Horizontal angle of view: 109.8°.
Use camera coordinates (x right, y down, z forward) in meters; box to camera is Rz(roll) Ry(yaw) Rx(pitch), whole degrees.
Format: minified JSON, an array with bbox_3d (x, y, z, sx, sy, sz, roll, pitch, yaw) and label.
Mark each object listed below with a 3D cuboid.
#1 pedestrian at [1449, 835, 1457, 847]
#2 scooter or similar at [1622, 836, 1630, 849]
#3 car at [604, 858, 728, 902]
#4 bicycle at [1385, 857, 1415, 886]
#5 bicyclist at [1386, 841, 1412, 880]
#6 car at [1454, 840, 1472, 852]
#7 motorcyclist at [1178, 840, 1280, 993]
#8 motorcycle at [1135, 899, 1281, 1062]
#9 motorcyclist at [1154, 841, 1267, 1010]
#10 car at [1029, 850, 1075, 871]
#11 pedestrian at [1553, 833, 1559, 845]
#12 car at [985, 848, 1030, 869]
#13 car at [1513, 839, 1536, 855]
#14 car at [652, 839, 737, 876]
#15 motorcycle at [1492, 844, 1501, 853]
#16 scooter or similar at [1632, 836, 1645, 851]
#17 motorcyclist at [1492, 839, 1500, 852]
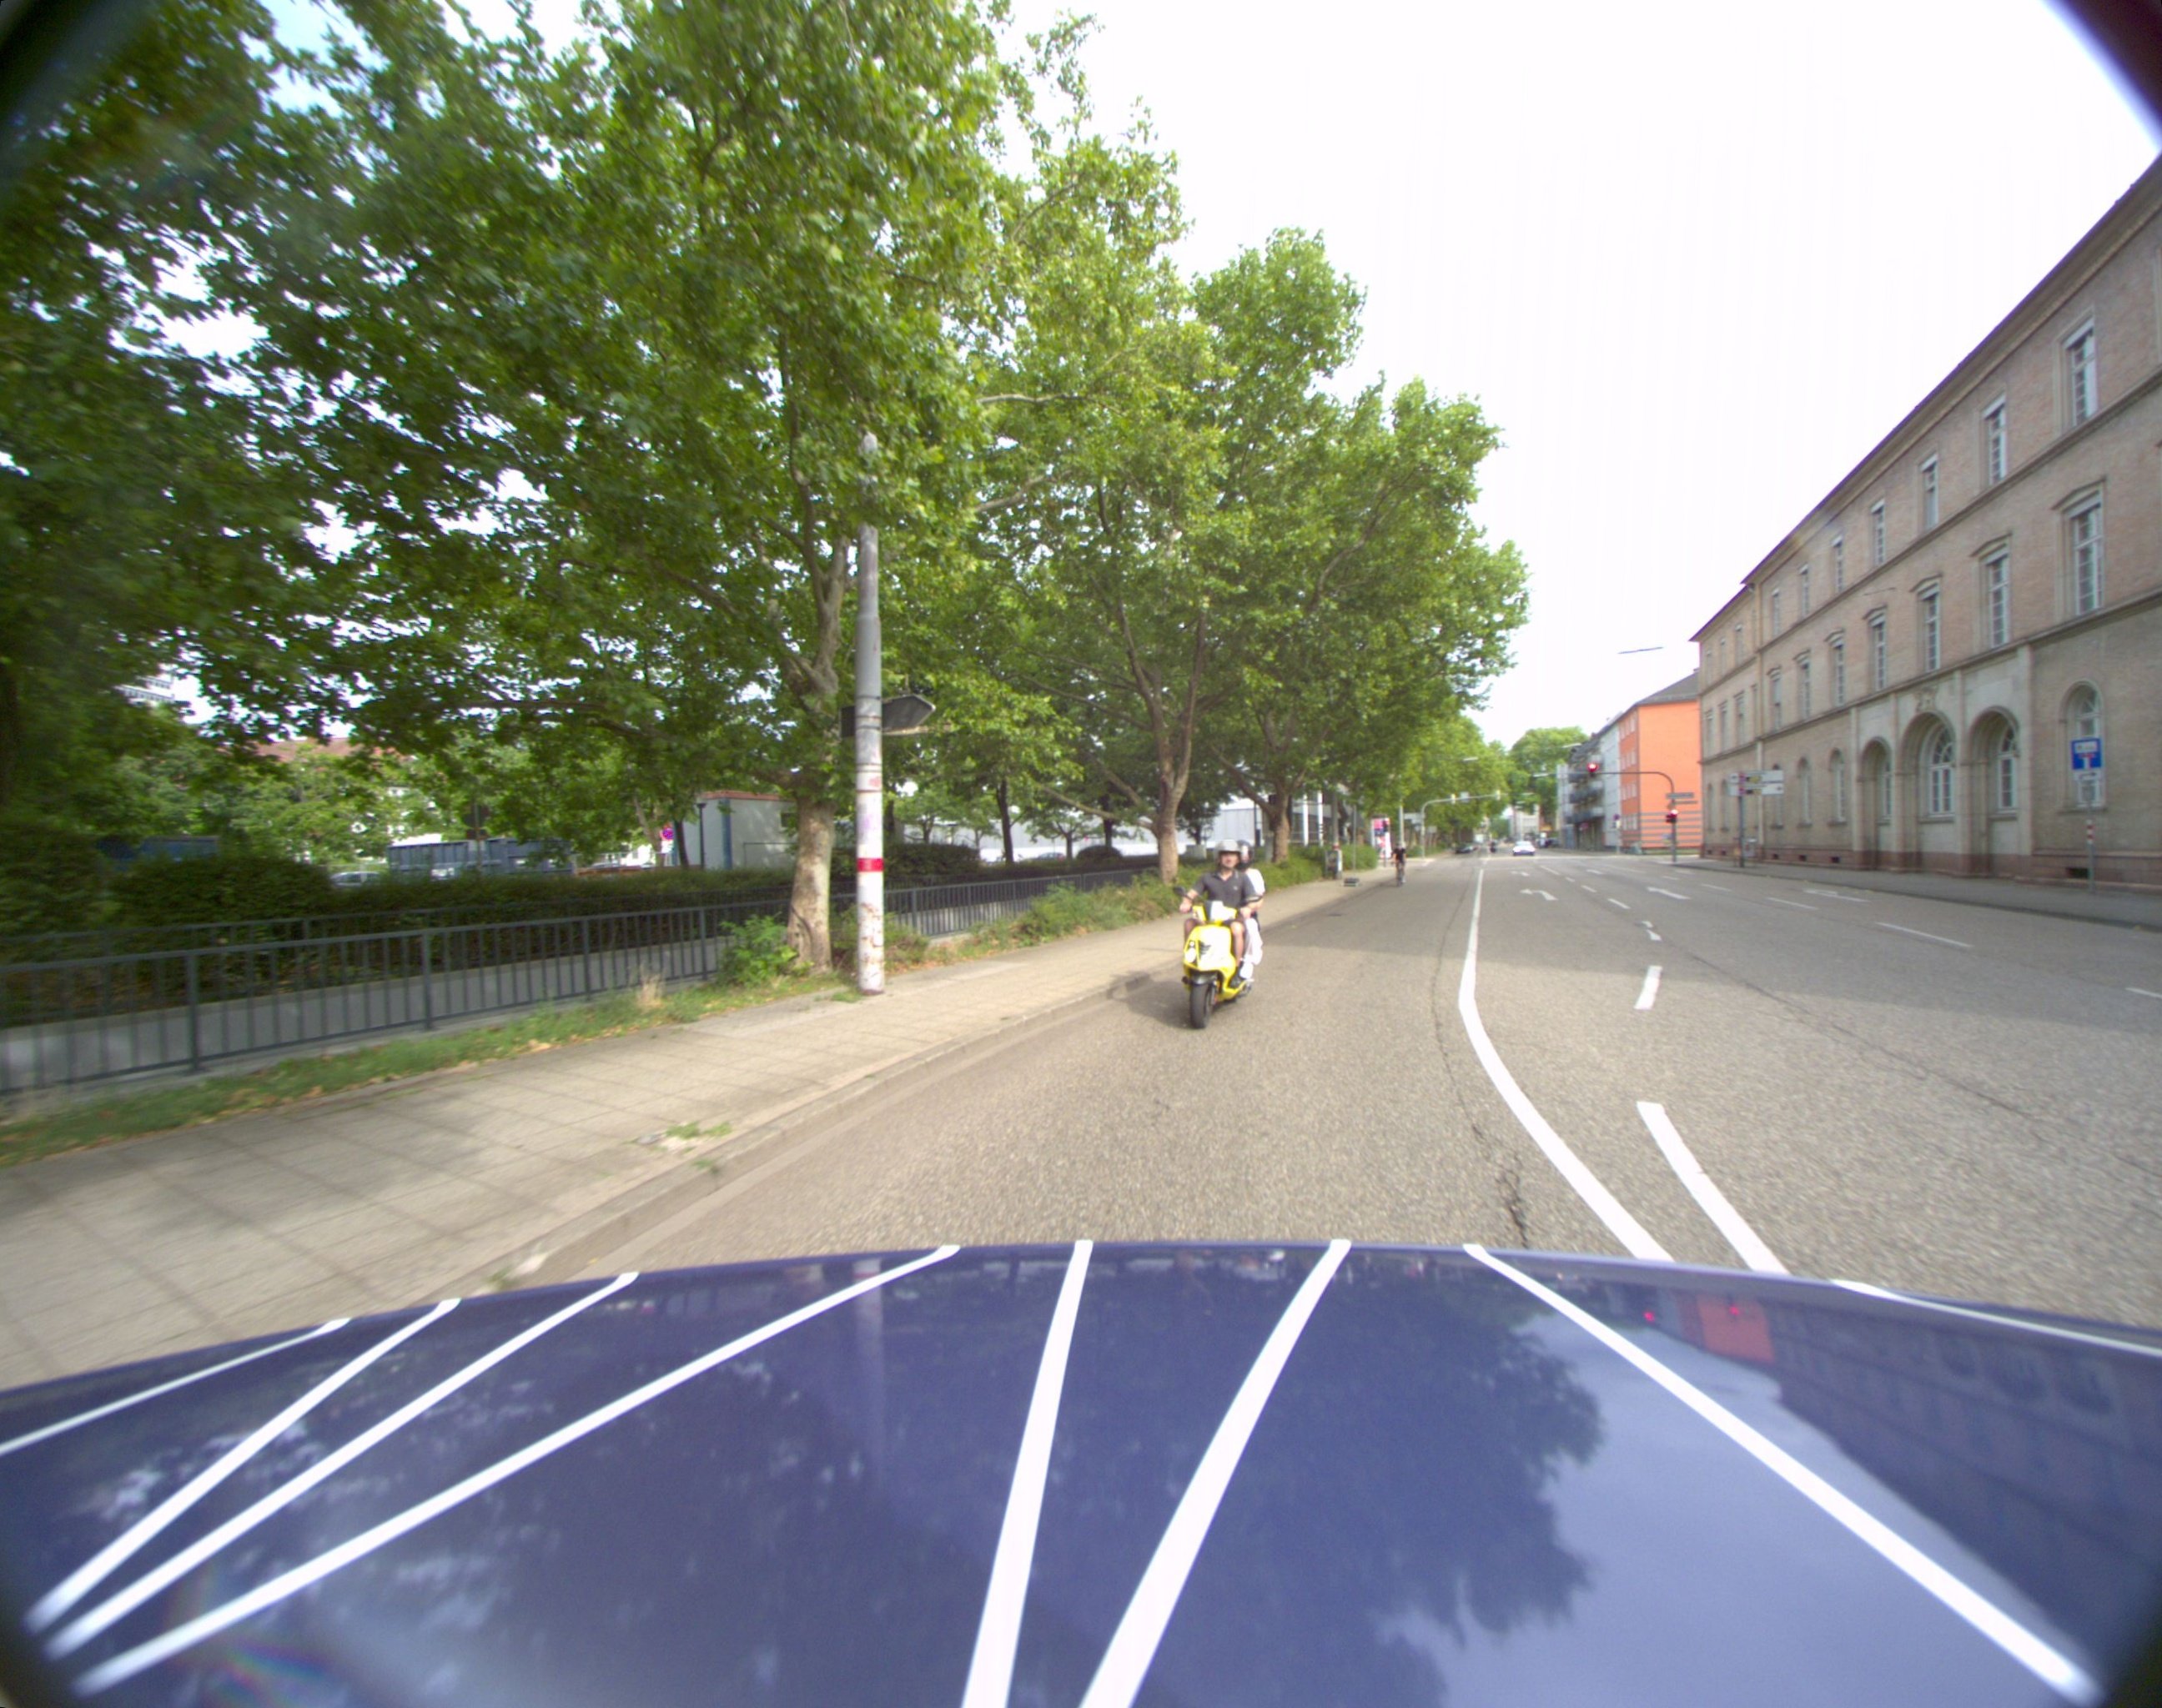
[{"bbox_3d":[62.632,-2.188,127.954,1.002,2.002,0.999,-3,0,30],"label":"pedestrian"},{"bbox_3d":[47.965,-0.991,66.833,0.369,1.117,1.356,-3,0,29],"label":"scooter or similar"},{"bbox_3d":[-19.407,1.179,35.772,1.995,1.783,4.781,-3,-1,25],"label":"car"},{"bbox_3d":[12.301,0.647,29.273,0.769,1.009,2.412,-3,-1,28],"label":"bicycle"},{"bbox_3d":[12.273,0.244,29.308,0.783,1.438,0.915,-3,0,29],"label":"bicyclist"},{"bbox_3d":[55.733,-1.147,110.763,1.995,1.532,4.279,-3,-1,30],"label":"car"},{"bbox_3d":[1.472,0.598,7.504,0.780,1.419,0.690,-3,-1,25],"label":"motorcyclist"},{"bbox_3d":[1.248,1.058,7.019,0.780,1.171,1.996,-3,-1,25],"label":"motorcycle"},{"bbox_3d":[1.184,0.617,6.872,0.780,1.419,0.765,-3,-1,25],"label":"motorcyclist"},{"bbox_3d":[-2.888,0.624,75.791,3.992,1.849,2.003,-3,0,19],"label":"car"},{"bbox_3d":[81.251,-2.512,129.991,0.841,2.002,0.876,-3,0,32],"label":"pedestrian"},{"bbox_3d":[-7.553,0.463,78.022,3.992,2.002,2.003,-3,0,19],"label":"car"},{"bbox_3d":[42.319,-0.666,72.537,1.670,1.430,3.827,-1,0,28],"label":"car"},{"bbox_3d":[-30.268,0.240,59.722,2.437,2.598,5.506,-3,0,26],"label":"car"},{"bbox_3d":[54.006,-0.744,98.750,0.780,1.171,1.996,-3,-1,25],"label":"motorcycle"},{"bbox_3d":[44.593,-0.805,60.750,0.329,1.151,1.355,-3,0,15],"label":"scooter or similar"},{"bbox_3d":[53.998,-1.115,98.779,0.780,1.651,1.114,-3,-1,25],"label":"motorcyclist"}]
